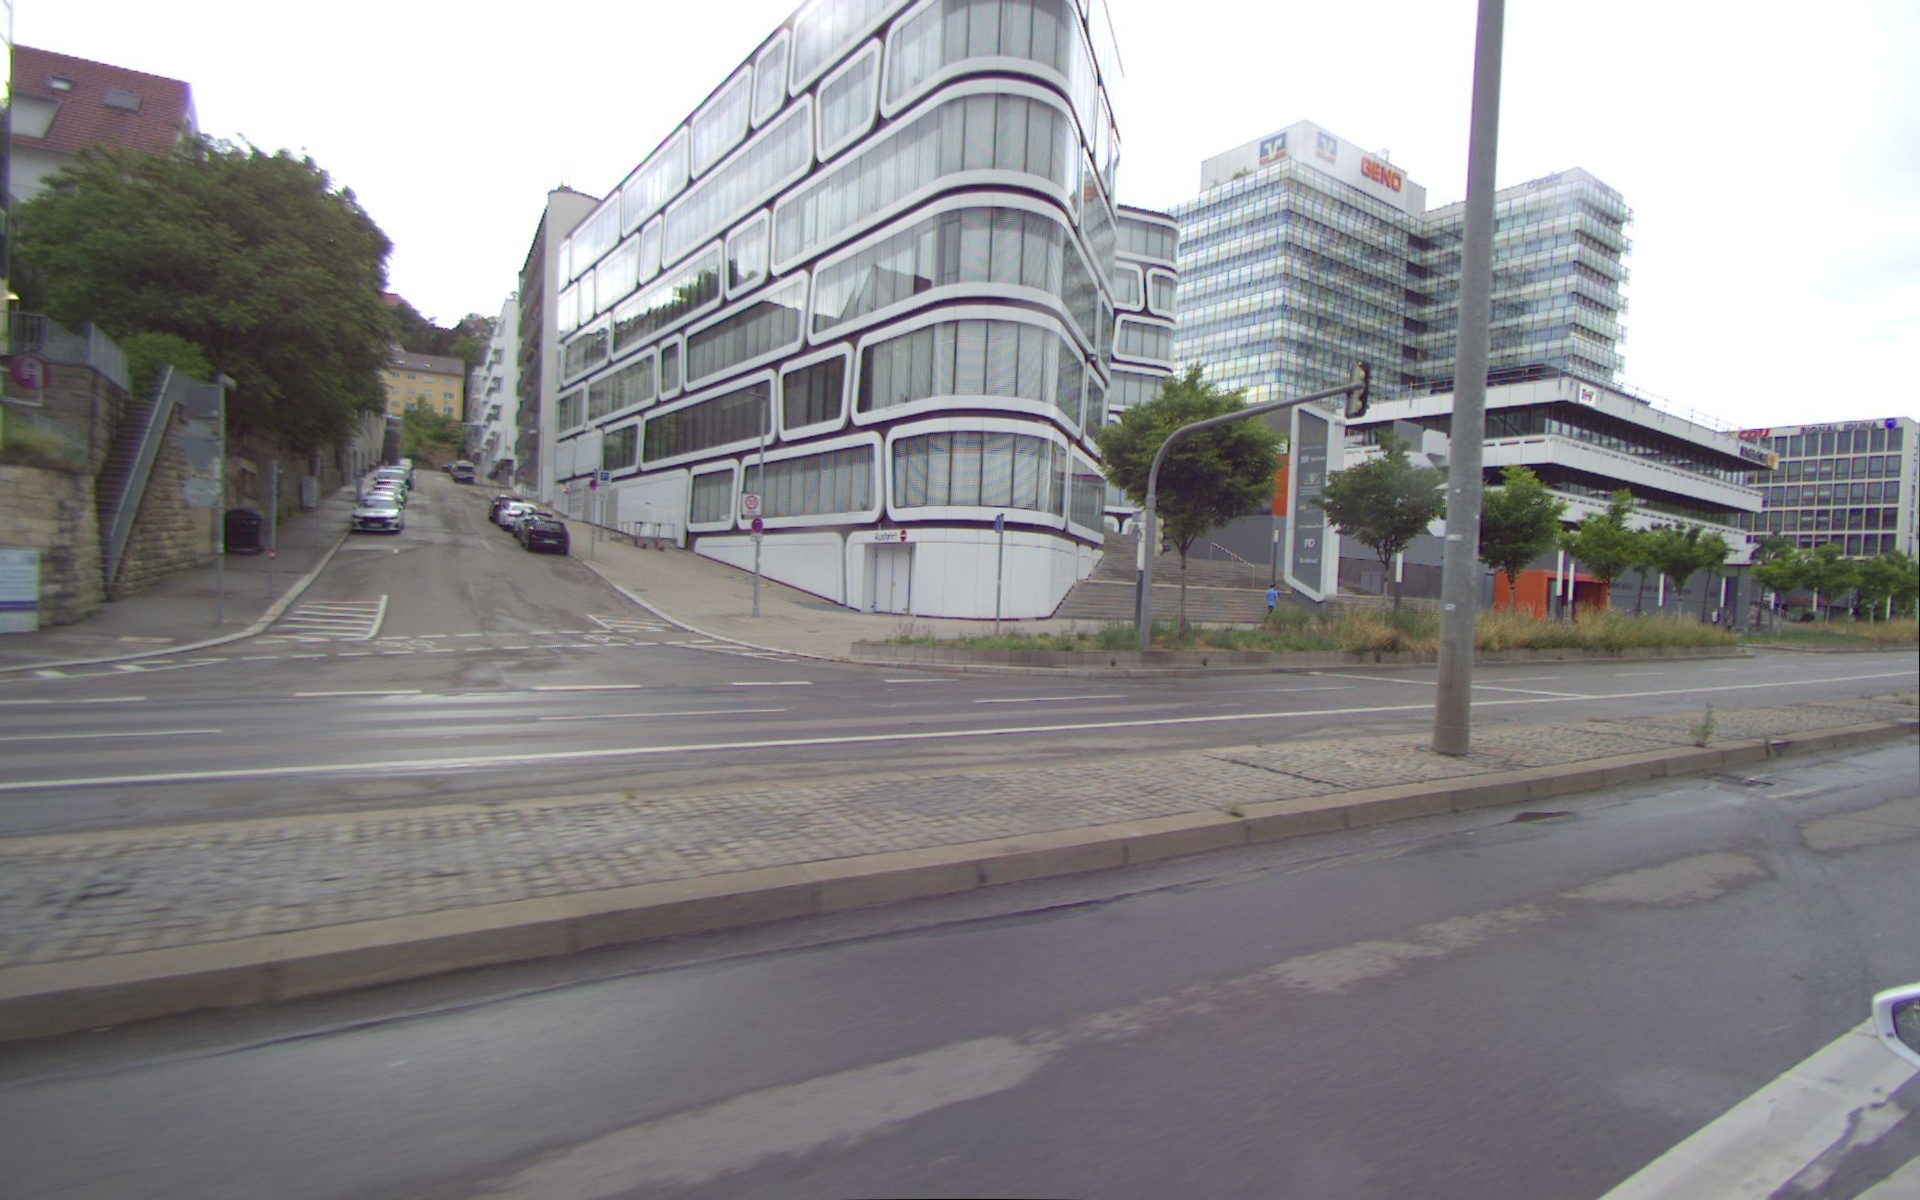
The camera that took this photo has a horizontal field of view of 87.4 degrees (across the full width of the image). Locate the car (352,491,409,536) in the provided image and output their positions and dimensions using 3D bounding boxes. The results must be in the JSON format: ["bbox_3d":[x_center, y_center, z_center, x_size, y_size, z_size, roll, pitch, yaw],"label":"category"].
[{"bbox_3d":[-26.279,-3.958,45.636,2.028,1.706,3.969,3,4,-29],"label":"car"}]

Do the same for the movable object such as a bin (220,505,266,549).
[{"bbox_3d":[-23.356,-2.387,32.720,1.105,1.260,0.820,3,7,-31],"label":"movable object such as a bin"}]

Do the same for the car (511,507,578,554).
[{"bbox_3d":[-18.155,-3.061,43.798,1.860,1.598,3.961,2,6,-34],"label":"car"}]

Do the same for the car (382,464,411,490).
[{"bbox_3d":[-43.147,-9.392,76.927,1.792,1.706,3.969,3,4,-29],"label":"car"}]

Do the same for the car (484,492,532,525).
[{"bbox_3d":[-26.581,-5.384,58.965,1.860,1.598,3.961,2,6,-34],"label":"car"}]

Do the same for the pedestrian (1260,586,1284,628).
[{"bbox_3d":[12.658,0.280,40.806,0.633,1.632,0.607,3,0,-33],"label":"pedestrian"}]

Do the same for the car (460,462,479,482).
[{"bbox_3d":[-58.335,-15.203,119.447,1.975,2.118,3.971,3,5,-27],"label":"car"}]

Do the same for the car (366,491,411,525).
[{"bbox_3d":[-28.775,-4.660,50.657,1.841,1.474,3.875,3,4,-29],"label":"car"}]

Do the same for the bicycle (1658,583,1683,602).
[{"bbox_3d":[35.873,-0.382,50.745,0.597,0.869,1.657,3,0,21],"label":"bicycle"}]

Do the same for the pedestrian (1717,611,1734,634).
[{"bbox_3d":[49.979,1.455,65.609,0.790,1.465,0.614,3,0,-35],"label":"pedestrian"}]

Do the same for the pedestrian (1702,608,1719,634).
[{"bbox_3d":[49.484,1.378,66.201,0.790,1.680,0.614,3,1,-35],"label":"pedestrian"}]

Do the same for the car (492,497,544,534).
[{"bbox_3d":[-23.837,-4.591,54.092,1.860,1.598,3.961,2,6,-34],"label":"car"}]

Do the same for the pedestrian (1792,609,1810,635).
[{"bbox_3d":[61.611,1.599,73.579,0.622,1.831,0.779,3,0,-35],"label":"pedestrian"}]

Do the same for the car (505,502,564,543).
[{"bbox_3d":[-20.675,-3.784,48.747,1.860,1.598,3.961,2,6,-34],"label":"car"}]
